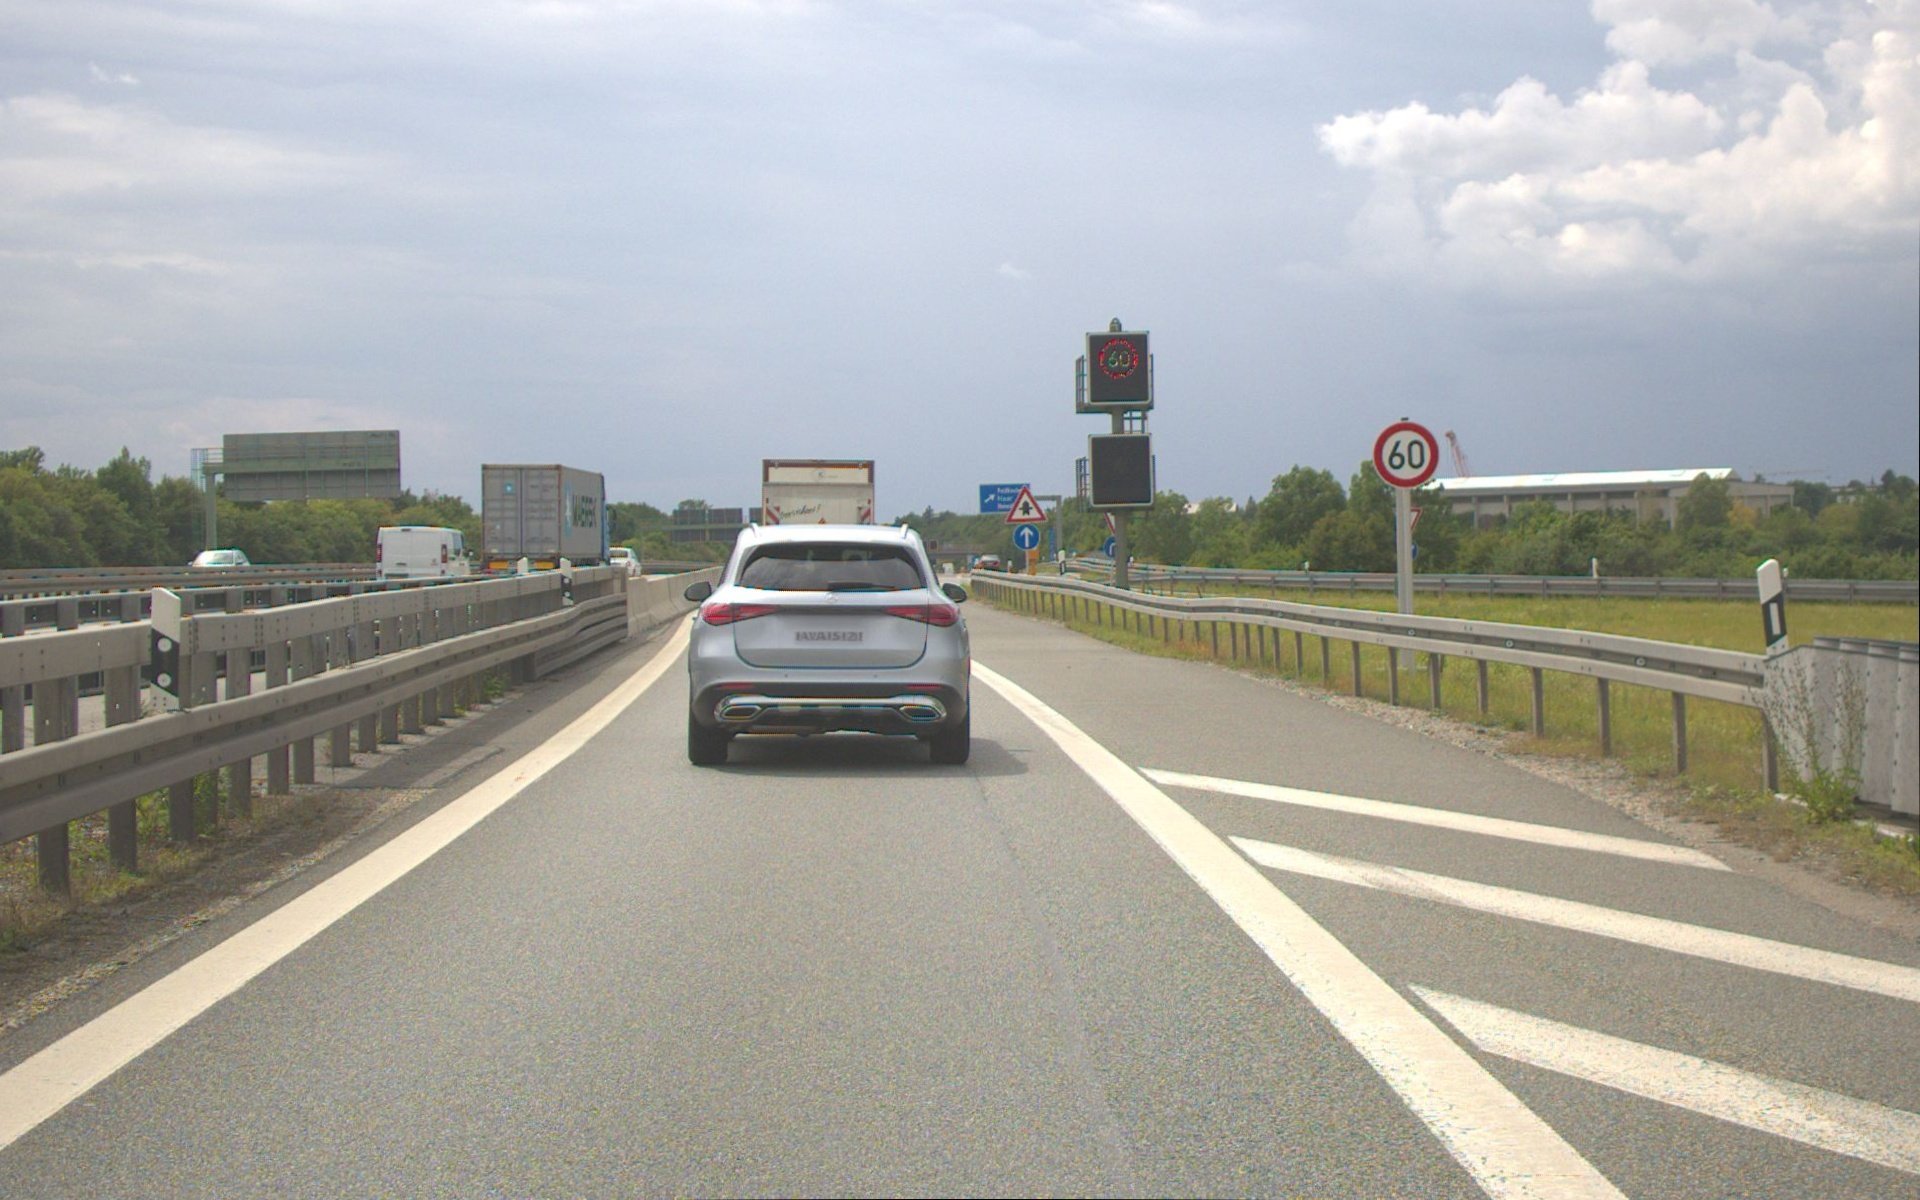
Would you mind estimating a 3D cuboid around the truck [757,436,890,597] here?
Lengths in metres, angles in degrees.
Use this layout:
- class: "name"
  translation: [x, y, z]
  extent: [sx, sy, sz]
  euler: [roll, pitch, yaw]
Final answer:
- class: "truck"
  translation: [-2.771, -1.680, 71.523]
  extent: [2.569, 3.115, 8.635]
  euler: [1, 1, -1]

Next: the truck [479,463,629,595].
- class: "truck"
  translation: [-13.143, -2.440, 112.812]
  extent: [3.183, 4.005, 16.077]
  euler: [1, 2, -1]

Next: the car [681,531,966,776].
- class: "car"
  translation: [-0.914, 0.303, 24.123]
  extent: [1.819, 1.509, 4.001]
  euler: [1, 2, -1]

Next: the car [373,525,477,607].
- class: "car"
  translation: [-13.916, -0.908, 89.606]
  extent: [1.993, 2.006, 4.375]
  euler: [1, 2, 0]

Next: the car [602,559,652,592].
- class: "car"
  translation: [-14.086, -1.056, 145.430]
  extent: [1.696, 1.283, 4.000]
  euler: [1, 2, 0]
